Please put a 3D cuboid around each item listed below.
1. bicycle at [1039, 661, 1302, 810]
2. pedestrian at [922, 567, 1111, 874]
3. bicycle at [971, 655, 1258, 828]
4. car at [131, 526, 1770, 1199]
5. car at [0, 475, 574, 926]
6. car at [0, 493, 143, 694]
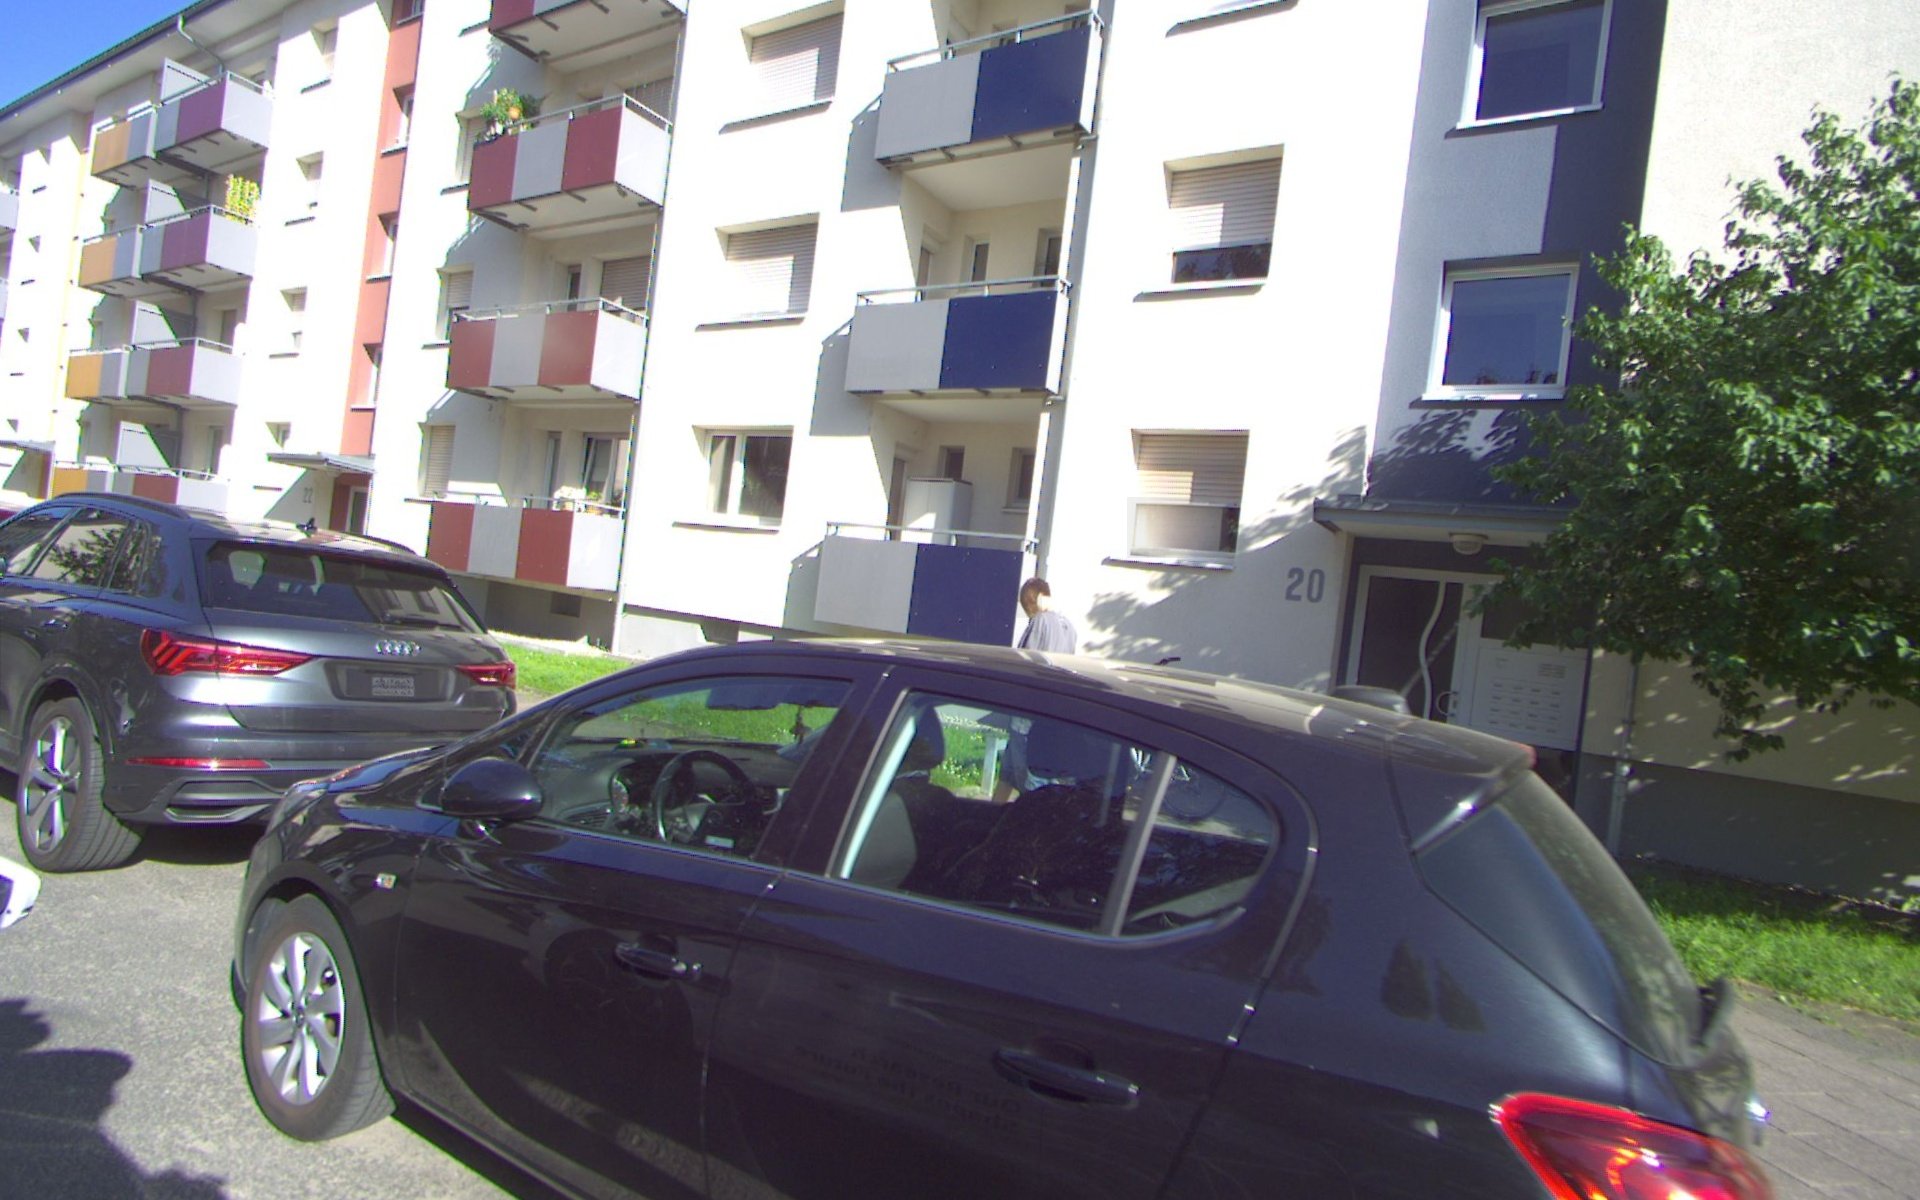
[{"bbox_3d":[1.900,1.197,9.305,2.245,0.973,0.485,7,1,29],"label":"bicycle"},{"bbox_3d":[0.374,0.744,6.533,0.827,1.793,0.646,7,0,31],"label":"pedestrian"},{"bbox_3d":[1.238,1.122,8.394,2.245,1.025,0.485,7,1,29],"label":"bicycle"},{"bbox_3d":[-0.413,0.773,2.726,3.734,1.502,1.607,7,-1,32],"label":"car"},{"bbox_3d":[-4.294,0.263,5.456,4.183,1.577,1.756,7,-1,31],"label":"car"},{"bbox_3d":[-8.957,-0.252,8.530,4.011,1.498,1.756,7,-1,31],"label":"car"}]
